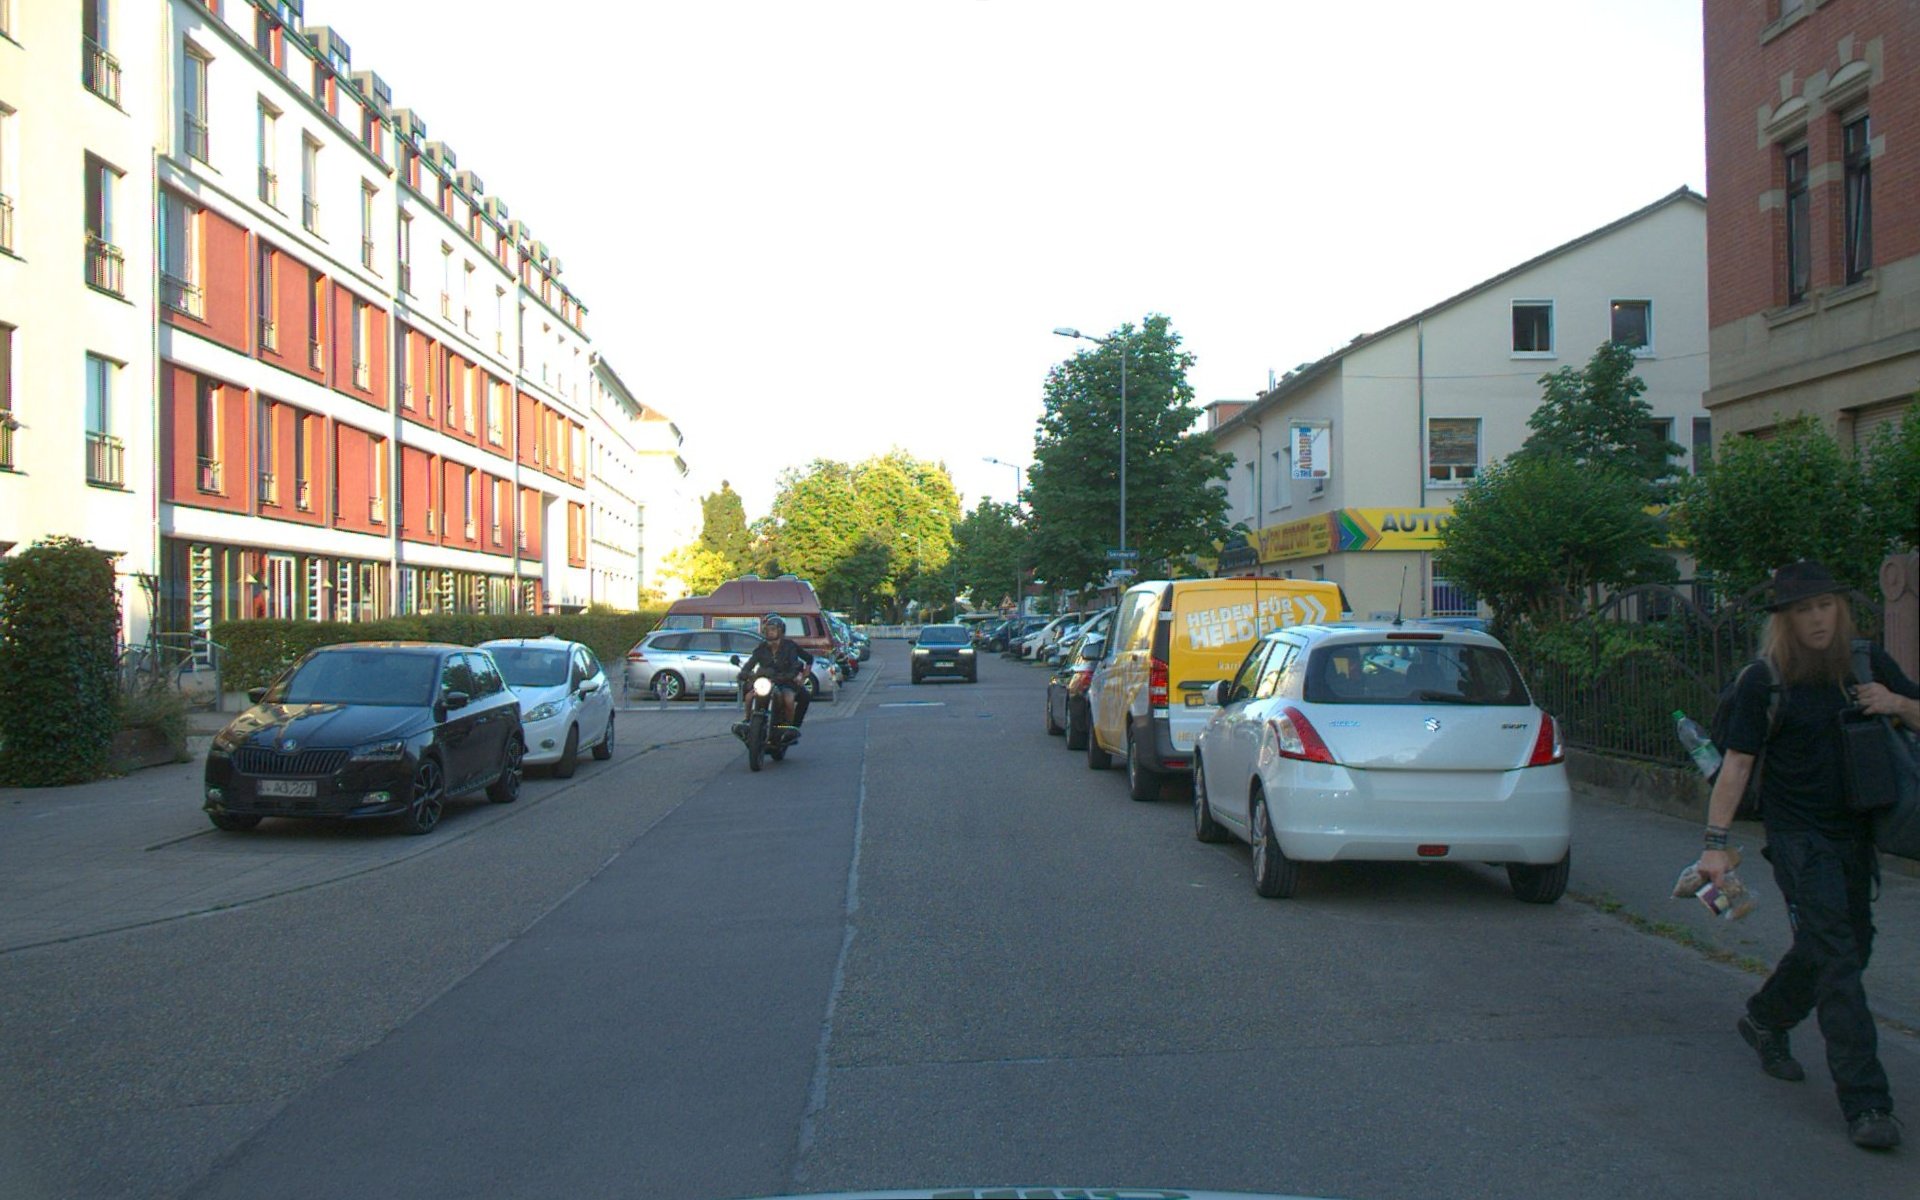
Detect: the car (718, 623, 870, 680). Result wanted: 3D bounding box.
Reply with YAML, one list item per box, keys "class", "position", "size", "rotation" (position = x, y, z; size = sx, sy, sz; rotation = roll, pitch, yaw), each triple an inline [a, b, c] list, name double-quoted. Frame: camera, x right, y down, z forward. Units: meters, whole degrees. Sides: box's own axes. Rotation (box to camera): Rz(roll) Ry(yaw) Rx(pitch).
- class: "car"
  position: [-4.682, 1.445, 46.991]
  size: [4.123, 1.516, 1.849]
  rotation: [1, -1, -1]

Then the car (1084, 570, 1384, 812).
- class: "car"
  position: [2.373, 0.759, 15.701]
  size: [1.855, 1.917, 5.079]
  rotation: [0, -1, -2]

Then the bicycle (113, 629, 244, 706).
- class: "bicycle"
  position: [-12.230, 1.048, 25.900]
  size: [1.739, 1.168, 0.610]
  rotation: [1, -1, 1]

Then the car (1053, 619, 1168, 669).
- class: "car"
  position: [5.283, 1.539, 58.563]
  size: [3.832, 1.553, 1.938]
  rotation: [-3, -1, -1]

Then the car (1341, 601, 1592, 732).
- class: "car"
  position: [6.402, 0.805, 21.449]
  size: [1.691, 1.449, 4.421]
  rotation: [-2, -1, -3]

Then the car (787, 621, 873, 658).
- class: "car"
  position: [-6.499, 1.979, 82.839]
  size: [4.170, 1.745, 1.999]
  rotation: [1, -1, -2]

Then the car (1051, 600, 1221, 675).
- class: "car"
  position: [5.332, 1.142, 50.610]
  size: [4.889, 2.018, 2.219]
  rotation: [-3, -1, -1]

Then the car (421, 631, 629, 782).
- class: "car"
  position: [-4.960, 1.150, 19.342]
  size: [1.618, 1.557, 4.013]
  rotation: [0, -1, -4]

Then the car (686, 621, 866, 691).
- class: "car"
  position: [-4.323, 1.322, 39.351]
  size: [4.125, 1.565, 1.789]
  rotation: [1, -1, -3]

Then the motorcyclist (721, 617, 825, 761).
- class: "motorcyclist"
  position: [-2.087, 0.977, 18.553]
  size: [0.870, 1.531, 0.970]
  rotation: [-3, -1, 8]

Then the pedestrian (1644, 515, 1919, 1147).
- class: "pedestrian"
  position: [2.709, 0.649, 5.080]
  size: [0.870, 1.752, 0.959]
  rotation: [1, -1, 5]

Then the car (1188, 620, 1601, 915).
- class: "car"
  position: [2.488, 0.884, 10.400]
  size: [1.640, 1.503, 3.862]
  rotation: [0, -1, 1]

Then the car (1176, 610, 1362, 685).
- class: "car"
  position: [7.155, 1.088, 38.508]
  size: [3.968, 1.540, 1.756]
  rotation: [-2, 1, -1]

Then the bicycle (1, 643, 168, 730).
- class: "bicycle"
  position: [-12.295, 1.210, 23.271]
  size: [1.876, 1.162, 0.811]
  rotation: [1, -1, -1]

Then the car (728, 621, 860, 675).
- class: "car"
  position: [-5.460, 1.586, 54.862]
  size: [4.170, 1.689, 1.999]
  rotation: [1, -1, -2]

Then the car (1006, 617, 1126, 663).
- class: "car"
  position: [4.493, 1.690, 70.689]
  size: [4.846, 1.718, 2.075]
  rotation: [-3, -1, -3]

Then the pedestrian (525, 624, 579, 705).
- class: "pedestrian"
  position: [-7.865, 1.235, 31.886]
  size: [0.815, 1.528, 0.798]
  rotation: [1, -1, -1]

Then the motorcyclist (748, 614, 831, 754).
- class: "motorcyclist"
  position: [-1.985, 0.973, 19.320]
  size: [0.770, 1.567, 0.546]
  rotation: [-3, -1, 8]

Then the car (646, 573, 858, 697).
- class: "car"
  position: [-4.562, 0.778, 36.828]
  size: [4.419, 2.629, 2.000]
  rotation: [1, -1, 0]

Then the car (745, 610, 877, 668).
- class: "car"
  position: [-5.523, 1.441, 61.775]
  size: [4.752, 2.057, 1.906]
  rotation: [1, -1, -2]

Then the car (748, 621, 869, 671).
- class: "car"
  position: [-5.388, 1.632, 59.220]
  size: [4.170, 1.681, 1.887]
  rotation: [1, -1, -2]

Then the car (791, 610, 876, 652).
- class: "car"
  position: [-6.879, 1.694, 90.245]
  size: [4.442, 2.172, 1.999]
  rotation: [1, -1, -2]

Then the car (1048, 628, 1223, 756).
- class: "car"
  position: [2.156, 1.106, 21.324]
  size: [1.686, 1.449, 4.251]
  rotation: [1, -1, -2]

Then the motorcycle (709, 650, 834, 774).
- class: "motorcycle"
  position: [-2.080, 1.222, 18.569]
  size: [0.828, 1.230, 2.076]
  rotation: [-3, -1, 8]

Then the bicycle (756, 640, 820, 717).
- class: "bicycle"
  position: [-2.984, 1.348, 28.980]
  size: [0.791, 1.243, 2.865]
  rotation: [1, -1, 0]

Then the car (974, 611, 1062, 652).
- class: "car"
  position: [3.079, 1.678, 88.124]
  size: [4.393, 1.945, 1.685]
  rotation: [-3, -1, -6]

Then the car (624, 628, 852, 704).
- class: "car"
  position: [-4.531, 1.349, 34.240]
  size: [4.525, 1.486, 1.879]
  rotation: [1, -1, -5]

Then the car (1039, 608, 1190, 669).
- class: "car"
  position: [5.189, 1.293, 55.949]
  size: [4.844, 1.773, 2.049]
  rotation: [-3, -1, -1]

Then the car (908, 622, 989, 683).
- class: "car"
  position: [-0.262, 1.387, 44.806]
  size: [1.742, 1.544, 4.002]
  rotation: [-2, -1, 5]

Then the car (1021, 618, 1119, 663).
- class: "car"
  position: [4.988, 1.841, 75.605]
  size: [4.231, 1.835, 1.809]
  rotation: [-3, -1, -3]

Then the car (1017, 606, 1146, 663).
- class: "car"
  position: [4.786, 1.369, 65.810]
  size: [4.846, 1.992, 2.048]
  rotation: [-3, -1, -3]

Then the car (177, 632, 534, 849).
- class: "car"
  position: [-4.901, 1.061, 13.982]
  size: [1.669, 1.561, 3.843]
  rotation: [0, -1, -1]

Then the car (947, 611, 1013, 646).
- class: "car"
  position: [1.250, 1.781, 103.687]
  size: [3.892, 1.945, 2.046]
  rotation: [-3, -1, -6]
